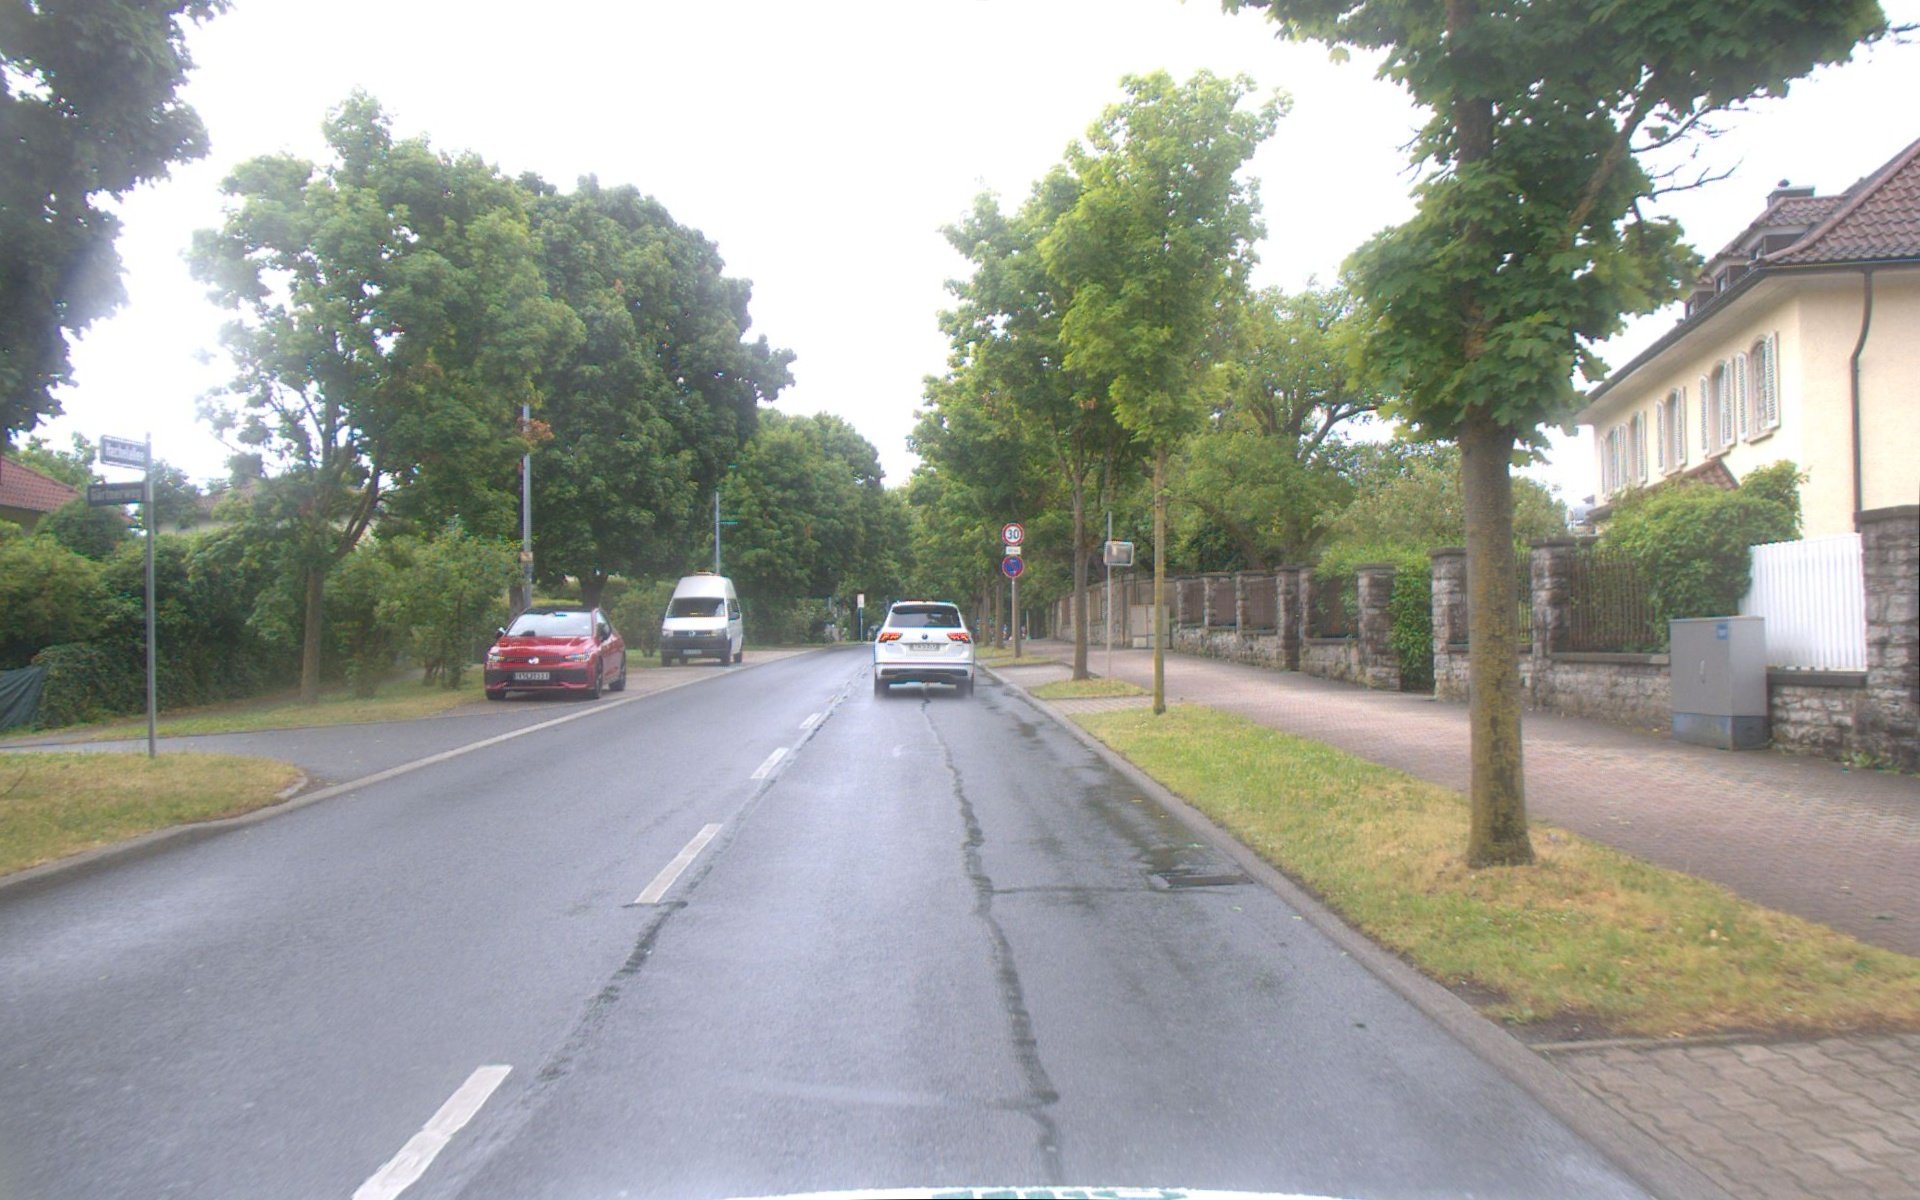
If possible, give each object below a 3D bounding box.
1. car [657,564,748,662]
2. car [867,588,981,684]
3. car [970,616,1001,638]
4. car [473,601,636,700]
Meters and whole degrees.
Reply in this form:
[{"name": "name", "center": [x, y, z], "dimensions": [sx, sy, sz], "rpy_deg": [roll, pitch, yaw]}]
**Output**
[{"name": "car", "center": [-7.205, 0.377, 46.788], "dimensions": [1.953, 2.606, 5.230], "rpy_deg": [0, -1, -2]}, {"name": "car", "center": [-0.667, 0.610, 30.744], "dimensions": [1.956, 1.660, 3.999], "rpy_deg": [1, 0, -1]}, {"name": "car", "center": [1.921, 2.023, 121.885], "dimensions": [1.801, 1.513, 4.002], "rpy_deg": [-2, -2, 7]}, {"name": "car", "center": [-6.566, 0.778, 27.212], "dimensions": [1.806, 1.491, 4.247], "rpy_deg": [0, 0, -3]}]
